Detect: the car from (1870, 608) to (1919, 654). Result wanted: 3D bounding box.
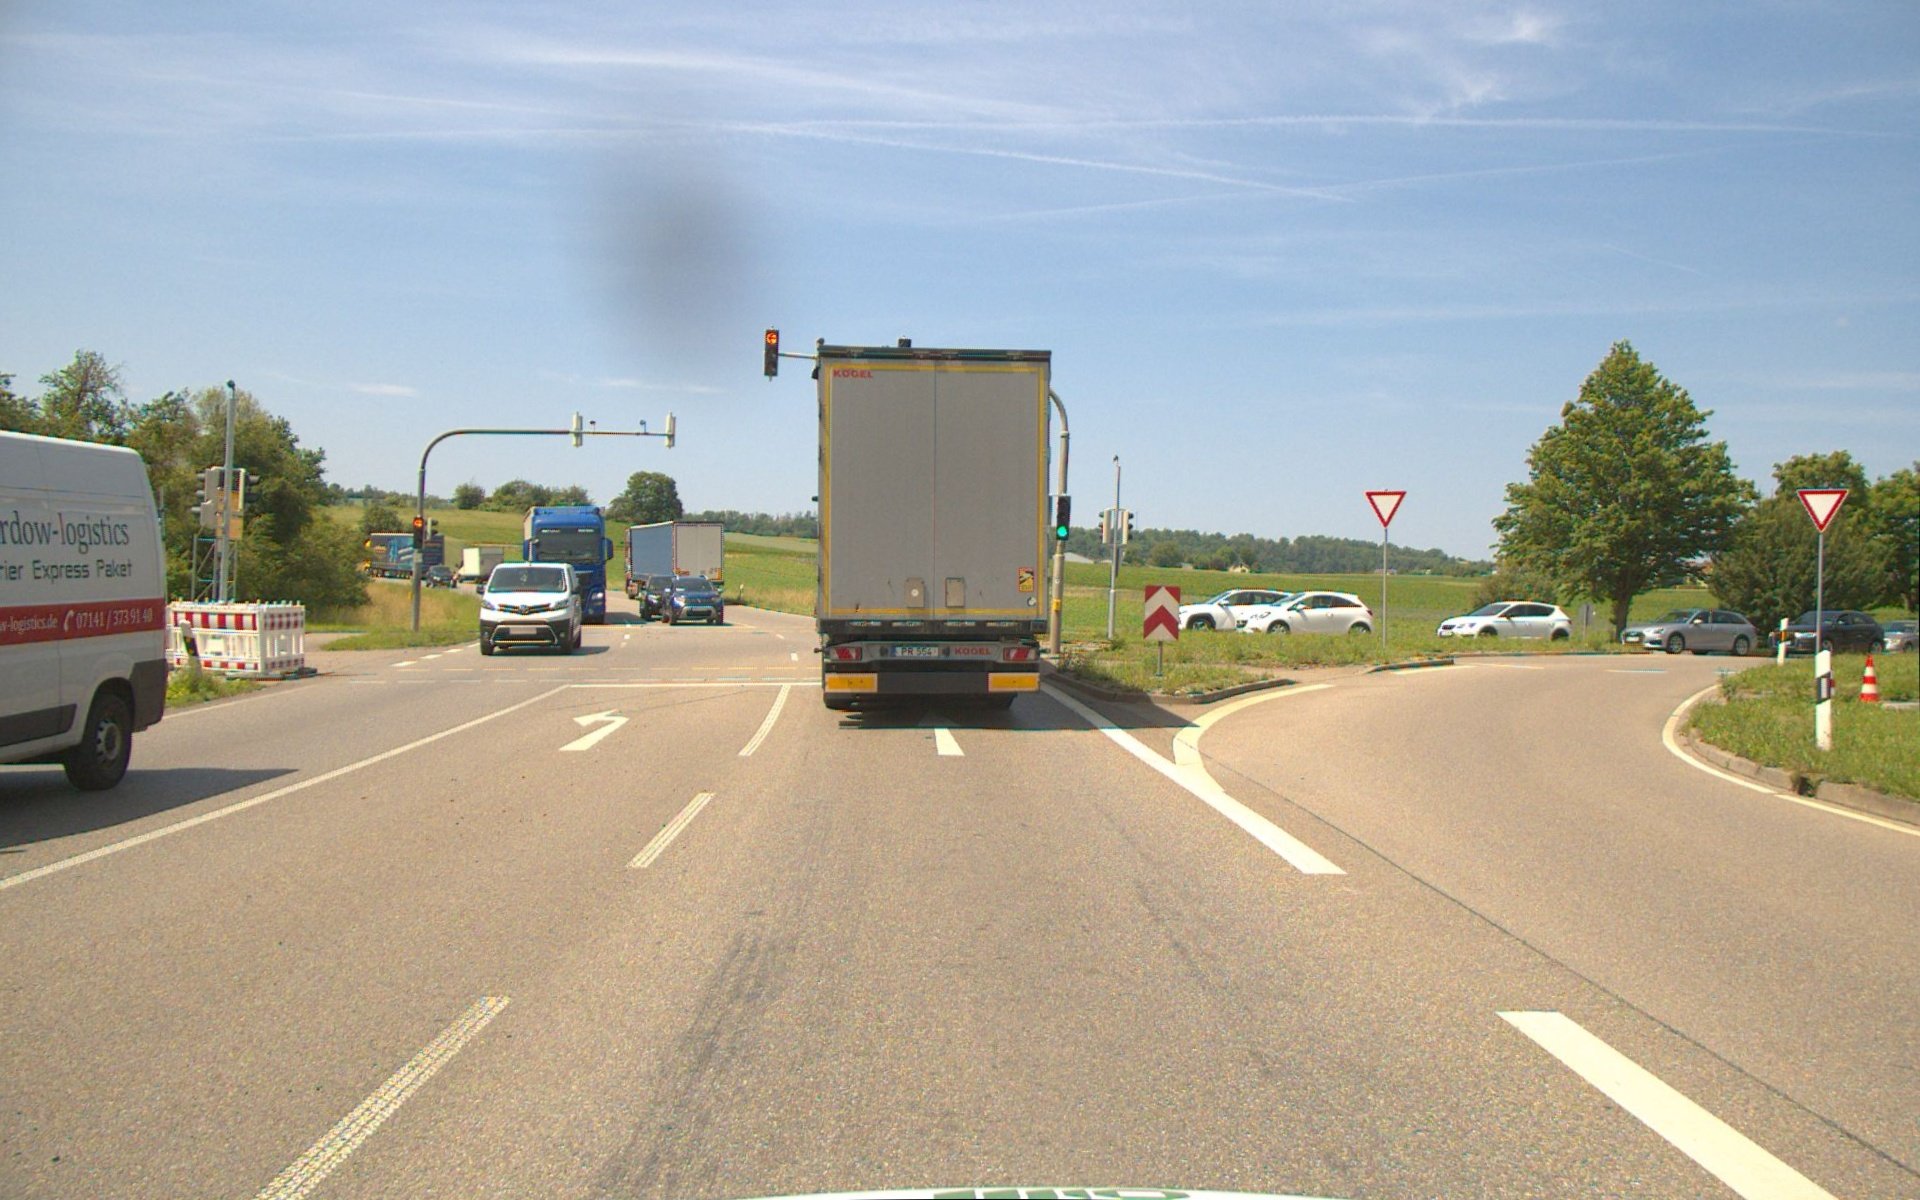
[{"bbox_3d":[33.565,1.090,57.379,4.511,1.536,1.778,2,-1,-36],"label":"car"}]

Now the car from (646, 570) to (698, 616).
[{"bbox_3d":[-10.911,-0.263,62.496,1.740,1.687,3.987,0,0,-13],"label":"car"}]

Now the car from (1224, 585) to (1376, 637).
[{"bbox_3d":[9.747,0.324,47.448,3.891,1.444,1.822,1,-1,-13],"label":"car"}]

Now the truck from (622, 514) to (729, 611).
[{"bbox_3d":[-15.328,-1.807,87.868,2.917,4.664,16.221,0,0,-19],"label":"truck"}]

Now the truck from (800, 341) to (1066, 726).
[{"bbox_3d":[-0.659,-0.744,22.262,2.753,4.015,9.582,1,1,-5],"label":"truck"}]

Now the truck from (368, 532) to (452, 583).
[{"bbox_3d":[-51.648,-3.875,154.890,3.502,4.315,13.231,2,-1,-36],"label":"truck"}]

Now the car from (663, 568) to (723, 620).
[{"bbox_3d":[-9.147,-0.218,56.385,1.741,1.687,3.986,0,0,-13],"label":"car"}]

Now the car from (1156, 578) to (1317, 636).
[{"bbox_3d":[8.564,0.230,51.446,4.537,1.635,1.996,2,-2,-6],"label":"car"}]

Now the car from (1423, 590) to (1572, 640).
[{"bbox_3d":[16.082,0.472,49.524,4.031,1.444,1.791,1,-1,-19],"label":"car"}]

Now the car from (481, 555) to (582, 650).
[{"bbox_3d":[-9.204,0.026,35.834,1.838,1.919,4.937,0,0,-12],"label":"car"}]

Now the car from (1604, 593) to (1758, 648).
[{"bbox_3d":[22.441,0.644,51.464,4.484,1.536,1.789,2,-1,-22],"label":"car"}]

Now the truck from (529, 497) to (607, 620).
[{"bbox_3d":[-13.851,-1.447,58.454,2.523,4.100,6.537,0,1,-14],"label":"truck"}]

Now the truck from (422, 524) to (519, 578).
[{"bbox_3d":[-41.992,-4.087,141.469,3.611,4.201,12.922,2,-1,-37],"label":"truck"}]

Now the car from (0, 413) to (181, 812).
[{"bbox_3d":[-7.018,0.084,10.317,2.010,2.495,5.266,0,1,-3],"label":"car"}]

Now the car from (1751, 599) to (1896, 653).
[{"bbox_3d":[28.046,0.857,53.707,4.487,1.536,1.787,3,-2,-24],"label":"car"}]
